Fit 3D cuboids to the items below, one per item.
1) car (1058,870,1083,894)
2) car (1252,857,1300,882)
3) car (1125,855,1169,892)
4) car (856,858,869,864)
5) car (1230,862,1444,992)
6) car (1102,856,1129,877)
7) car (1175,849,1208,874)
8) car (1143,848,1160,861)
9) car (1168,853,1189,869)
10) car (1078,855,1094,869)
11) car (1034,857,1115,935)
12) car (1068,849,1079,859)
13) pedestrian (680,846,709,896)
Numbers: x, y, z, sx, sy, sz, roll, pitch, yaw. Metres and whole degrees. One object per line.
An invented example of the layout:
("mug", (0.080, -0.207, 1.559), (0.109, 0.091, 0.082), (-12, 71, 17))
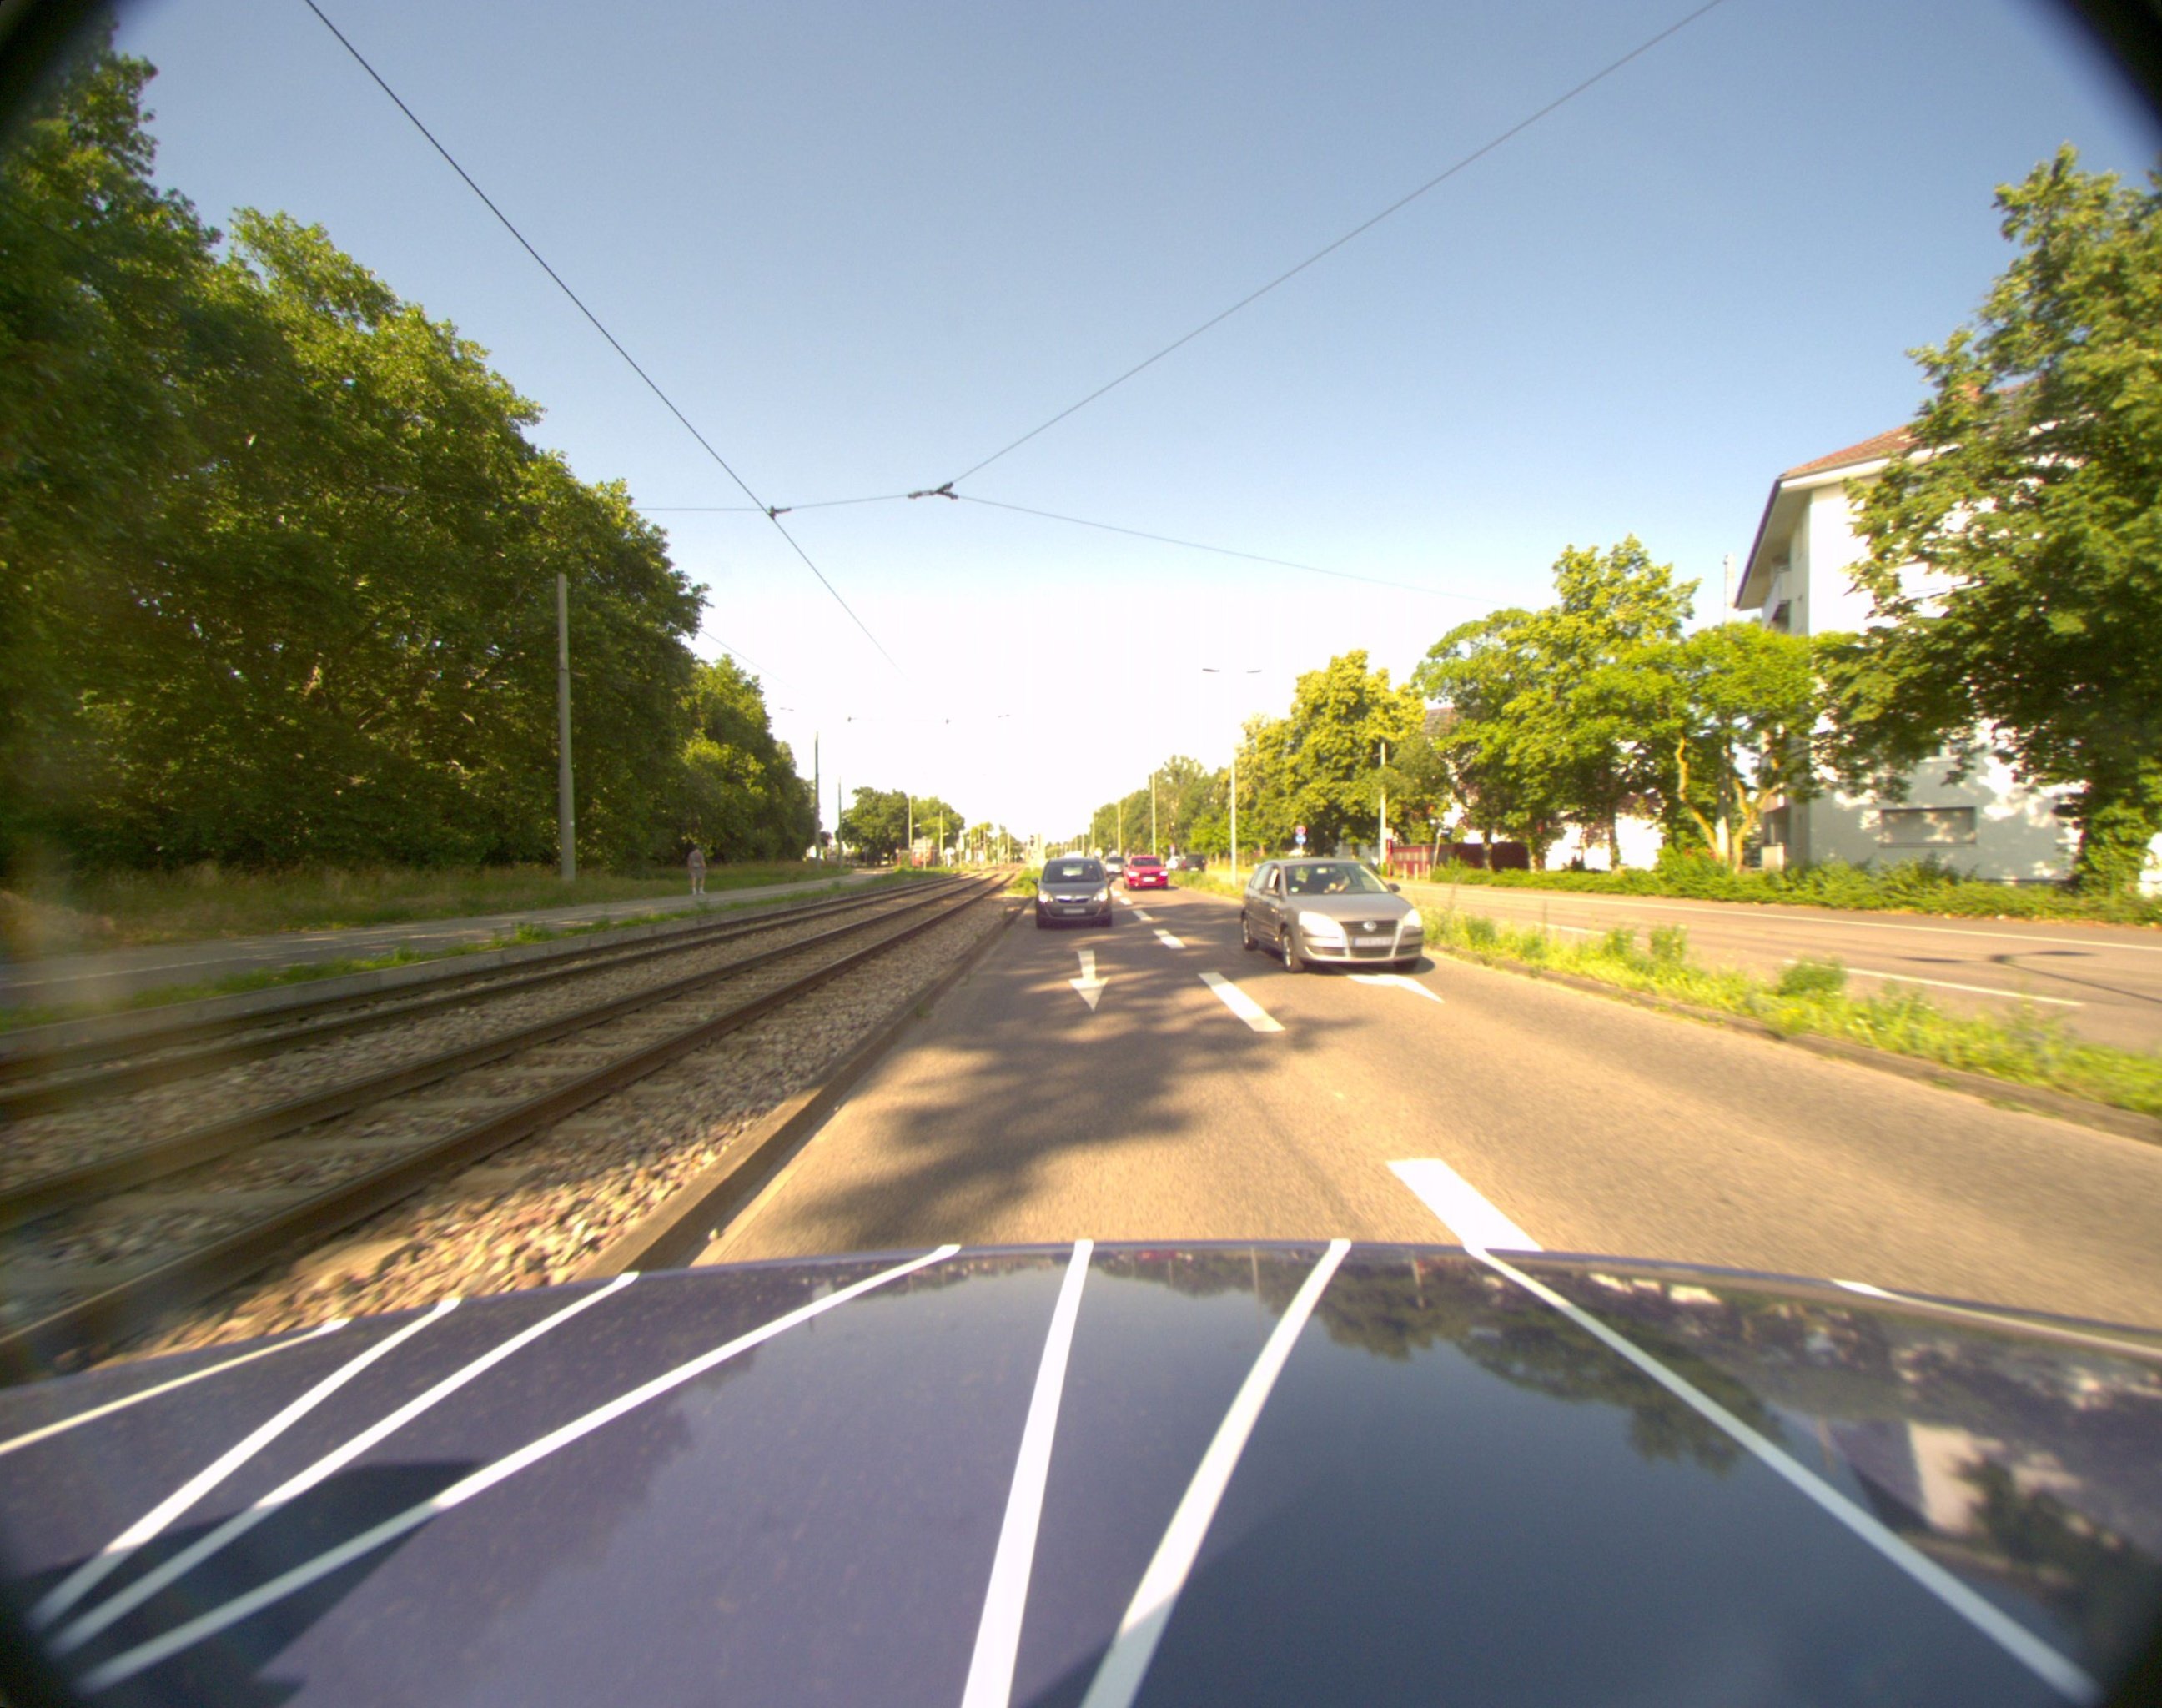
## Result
("car", (-0.757, 1.945, 53.957), (1.710, 1.513, 3.832), (-2, 0, -1))
("car", (11.527, 0.878, 45.225), (1.728, 1.411, 4.325), (0, 0, 0))
("car", (3.037, 0.870, 35.704), (1.692, 1.573, 3.833), (-2, 0, 0))
("car", (-47.195, 1.477, 164.193), (1.809, 1.384, 3.776), (0, 0, -28))
("car", (3.341, 0.868, 10.711), (1.692, 1.420, 3.833), (-2, 0, 0))
("car", (2.669, 0.971, 59.480), (1.710, 1.513, 3.832), (-2, 0, -2))
("car", (8.213, 0.526, 56.666), (1.795, 1.773, 4.480), (0, 0, 0))
("car", (9.616, 0.089, 103.502), (1.774, 1.669, 4.048), (0, 0, -2))
("car", (10.527, 0.704, 82.240), (1.664, 1.669, 4.514), (1, 0, 0))
("car", (0.597, 0.997, 94.859), (1.774, 1.669, 4.048), (0, 0, -2))
("car", (-0.170, 0.917, 18.213), (1.650, 1.581, 3.832), (-3, 0, -1))
("car", (-1.235, 0.010, 129.132), (1.710, 1.513, 3.832), (-2, 0, -2))
("pedestrian", (-13.398, 0.589, 26.341), (0.501, 1.706, 0.885), (0, 0, 5))
